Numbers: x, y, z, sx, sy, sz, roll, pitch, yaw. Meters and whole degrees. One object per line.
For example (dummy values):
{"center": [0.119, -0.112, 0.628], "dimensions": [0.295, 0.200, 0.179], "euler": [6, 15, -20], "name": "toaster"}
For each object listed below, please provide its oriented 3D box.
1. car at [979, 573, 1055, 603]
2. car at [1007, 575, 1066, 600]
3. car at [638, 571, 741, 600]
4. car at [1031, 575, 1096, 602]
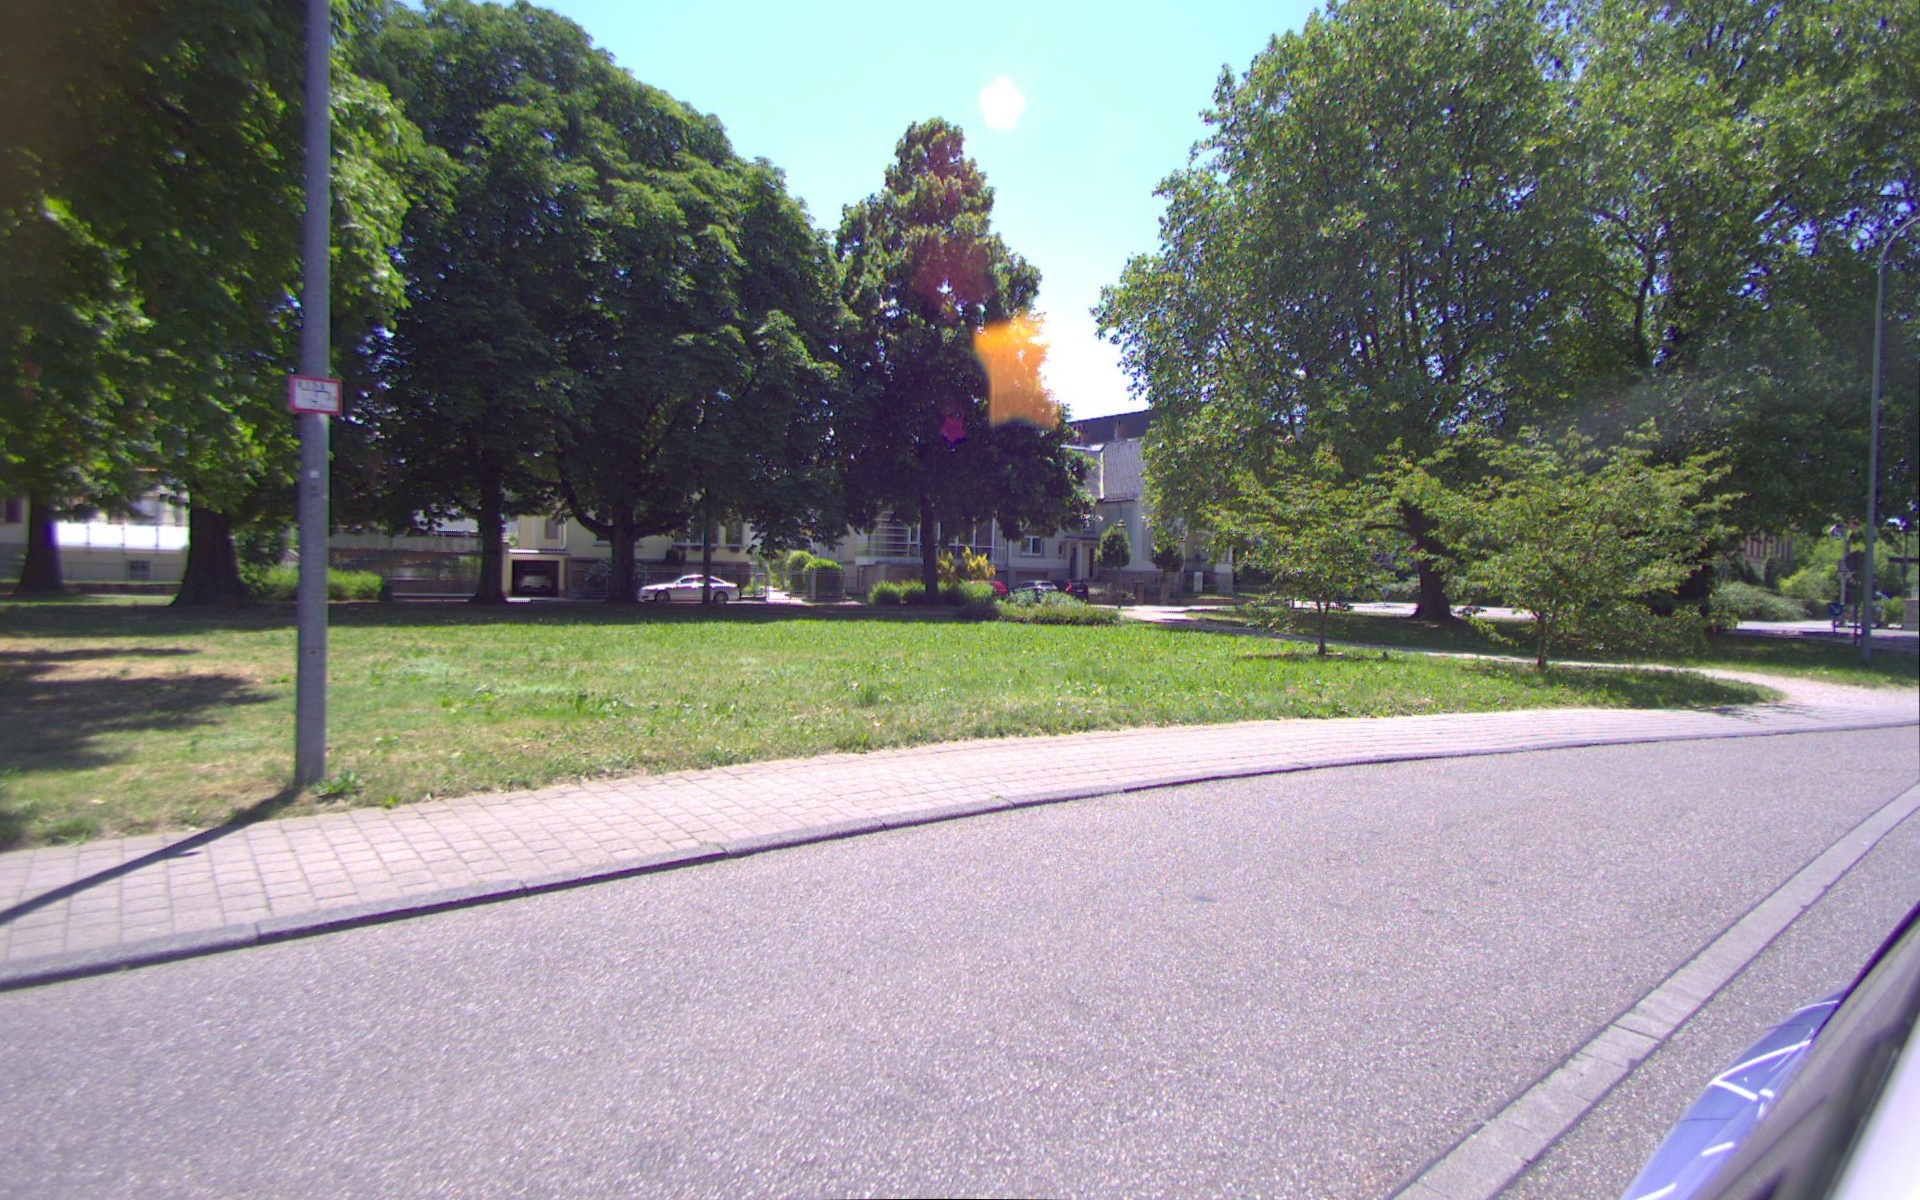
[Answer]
{"center": [3.200, -0.673, 57.015], "dimensions": [3.918, 1.543, 1.757], "euler": [0, 2, -28], "name": "car"}
{"center": [4.726, -0.791, 62.810], "dimensions": [1.958, 1.408, 4.008], "euler": [1, 2, -24], "name": "car"}
{"center": [-13.071, -0.733, 48.907], "dimensions": [4.618, 1.303, 1.674], "euler": [-1, 3, -25], "name": "car"}
{"center": [6.587, -0.756, 64.697], "dimensions": [1.962, 1.587, 4.001], "euler": [0, 2, -35], "name": "car"}
